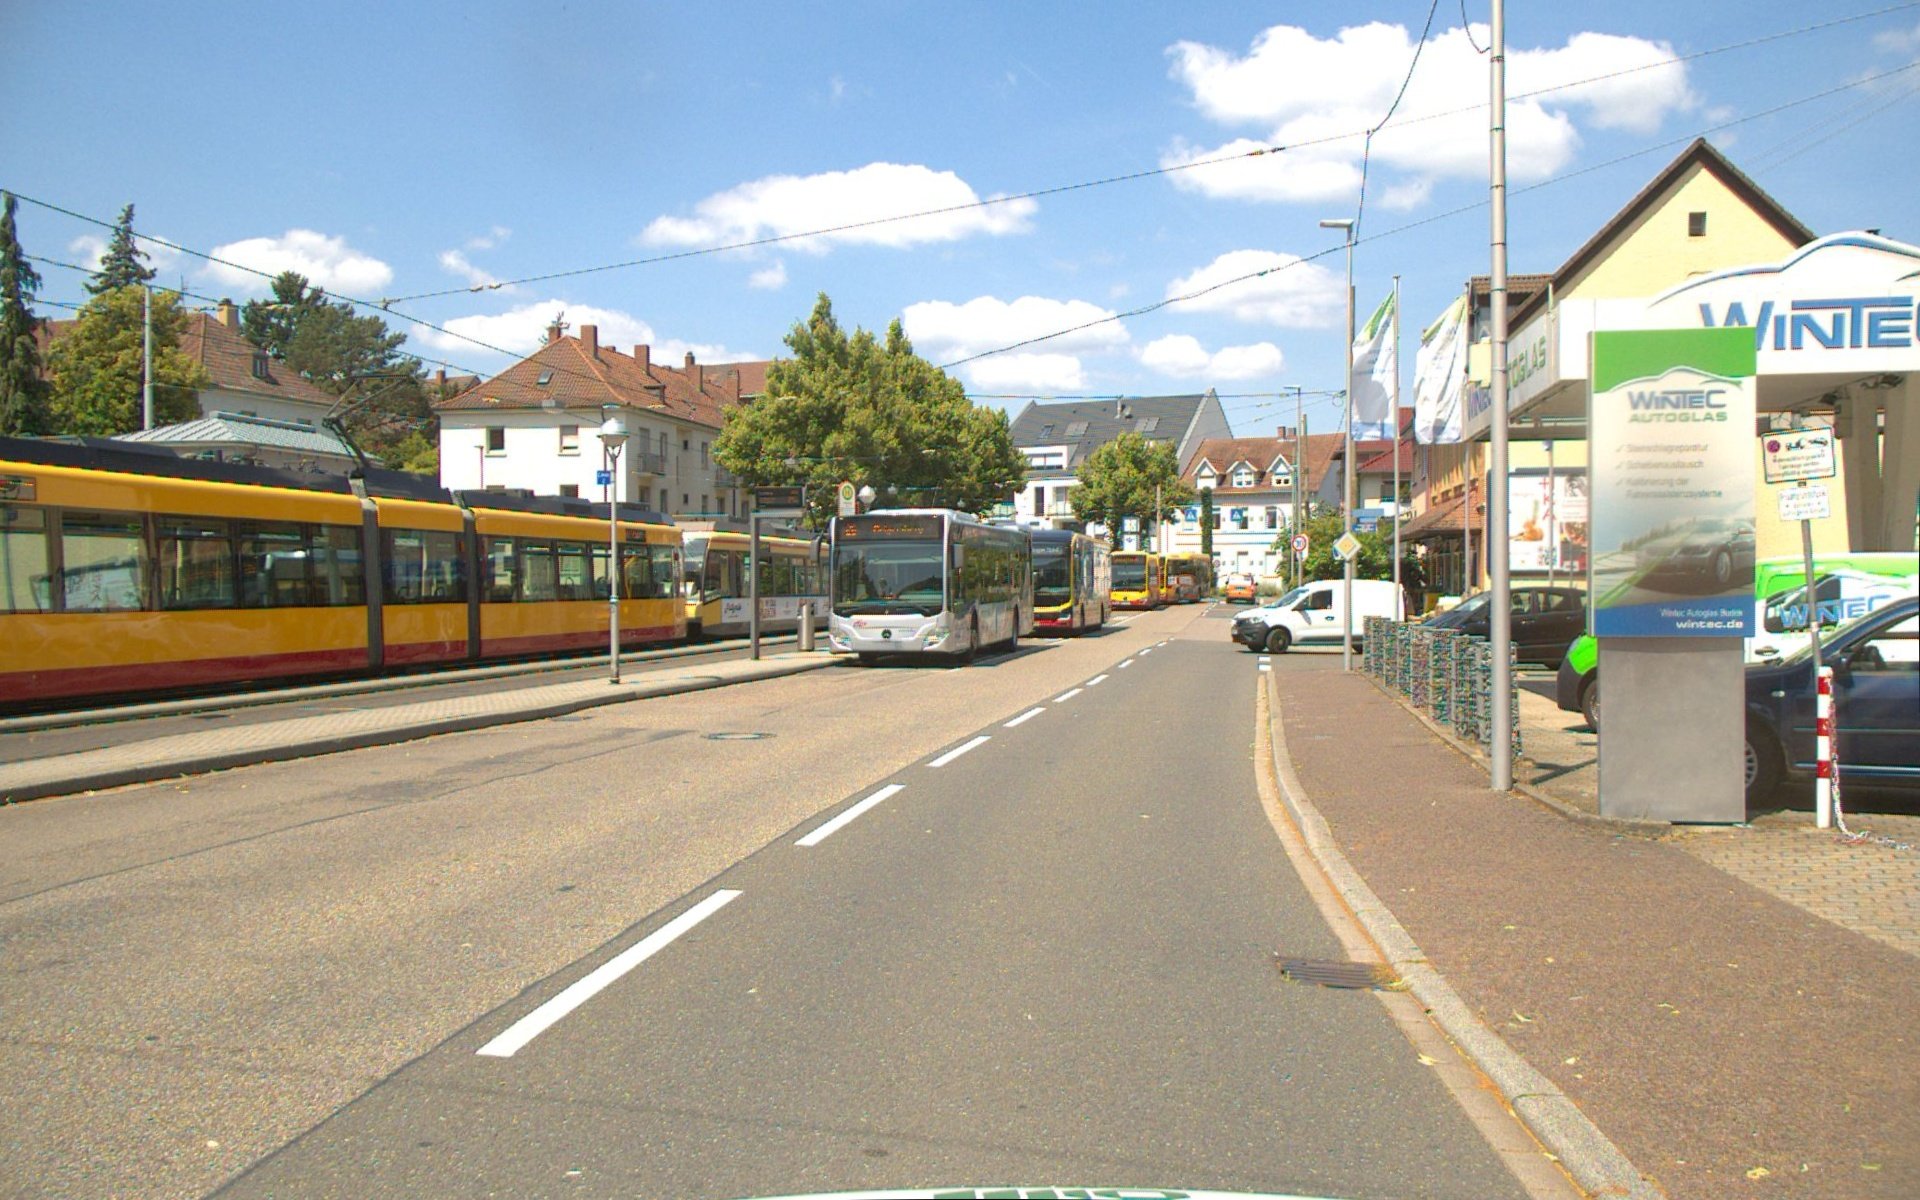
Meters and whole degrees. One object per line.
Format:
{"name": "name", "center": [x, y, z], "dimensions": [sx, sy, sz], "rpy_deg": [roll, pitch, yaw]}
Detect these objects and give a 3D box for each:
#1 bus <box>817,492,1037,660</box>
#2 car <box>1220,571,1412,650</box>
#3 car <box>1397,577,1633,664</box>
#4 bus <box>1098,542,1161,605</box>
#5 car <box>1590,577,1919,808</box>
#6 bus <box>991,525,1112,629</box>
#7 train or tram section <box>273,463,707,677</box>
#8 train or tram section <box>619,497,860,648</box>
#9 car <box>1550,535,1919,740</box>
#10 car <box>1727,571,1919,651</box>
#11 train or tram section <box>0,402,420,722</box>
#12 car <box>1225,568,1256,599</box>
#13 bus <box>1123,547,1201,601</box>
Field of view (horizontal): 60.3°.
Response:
{"name": "bus", "center": [-0.371, -0.494, 37.518], "dimensions": [2.672, 3.183, 12.019], "rpy_deg": [0, 0, 10]}
{"name": "car", "center": [8.783, 0.238, 41.008], "dimensions": [4.224, 1.840, 1.997], "rpy_deg": [0, 2, -9]}
{"name": "car", "center": [10.448, 0.374, 31.339], "dimensions": [3.850, 1.545, 1.822], "rpy_deg": [-1, 0, -2]}
{"name": "bus", "center": [9.525, -1.436, 91.888], "dimensions": [2.672, 3.275, 11.059], "rpy_deg": [0, 0, 10]}
{"name": "car", "center": [6.620, 0.577, 11.223], "dimensions": [4.084, 1.464, 1.897], "rpy_deg": [-1, 0, 33]}
{"name": "bus", "center": [3.336, -0.754, 56.565], "dimensions": [2.672, 3.183, 12.019], "rpy_deg": [0, 0, 10]}
{"name": "train or tram section", "center": [-9.186, -0.571, 35.542], "dimensions": [2.725, 3.631, 14.718], "rpy_deg": [0, 0, 10]}
{"name": "train or tram section", "center": [-6.299, -0.788, 51.339], "dimensions": [2.725, 3.963, 15.565], "rpy_deg": [0, 0, 10]}
{"name": "car", "center": [8.206, 0.334, 16.593], "dimensions": [1.823, 1.825, 3.970], "rpy_deg": [-1, 0, -38]}
{"name": "car", "center": [21.721, 0.252, 41.299], "dimensions": [4.213, 1.840, 2.002], "rpy_deg": [1, 2, 6]}
{"name": "train or tram section", "center": [-11.806, -0.452, 21.345], "dimensions": [2.749, 3.631, 14.193], "rpy_deg": [0, 0, 10]}
{"name": "car", "center": [18.564, -1.060, 109.504], "dimensions": [1.769, 2.015, 4.003], "rpy_deg": [0, 0, 13]}
{"name": "bus", "center": [12.878, -1.596, 104.573], "dimensions": [2.579, 3.275, 9.941], "rpy_deg": [0, 0, 21]}
